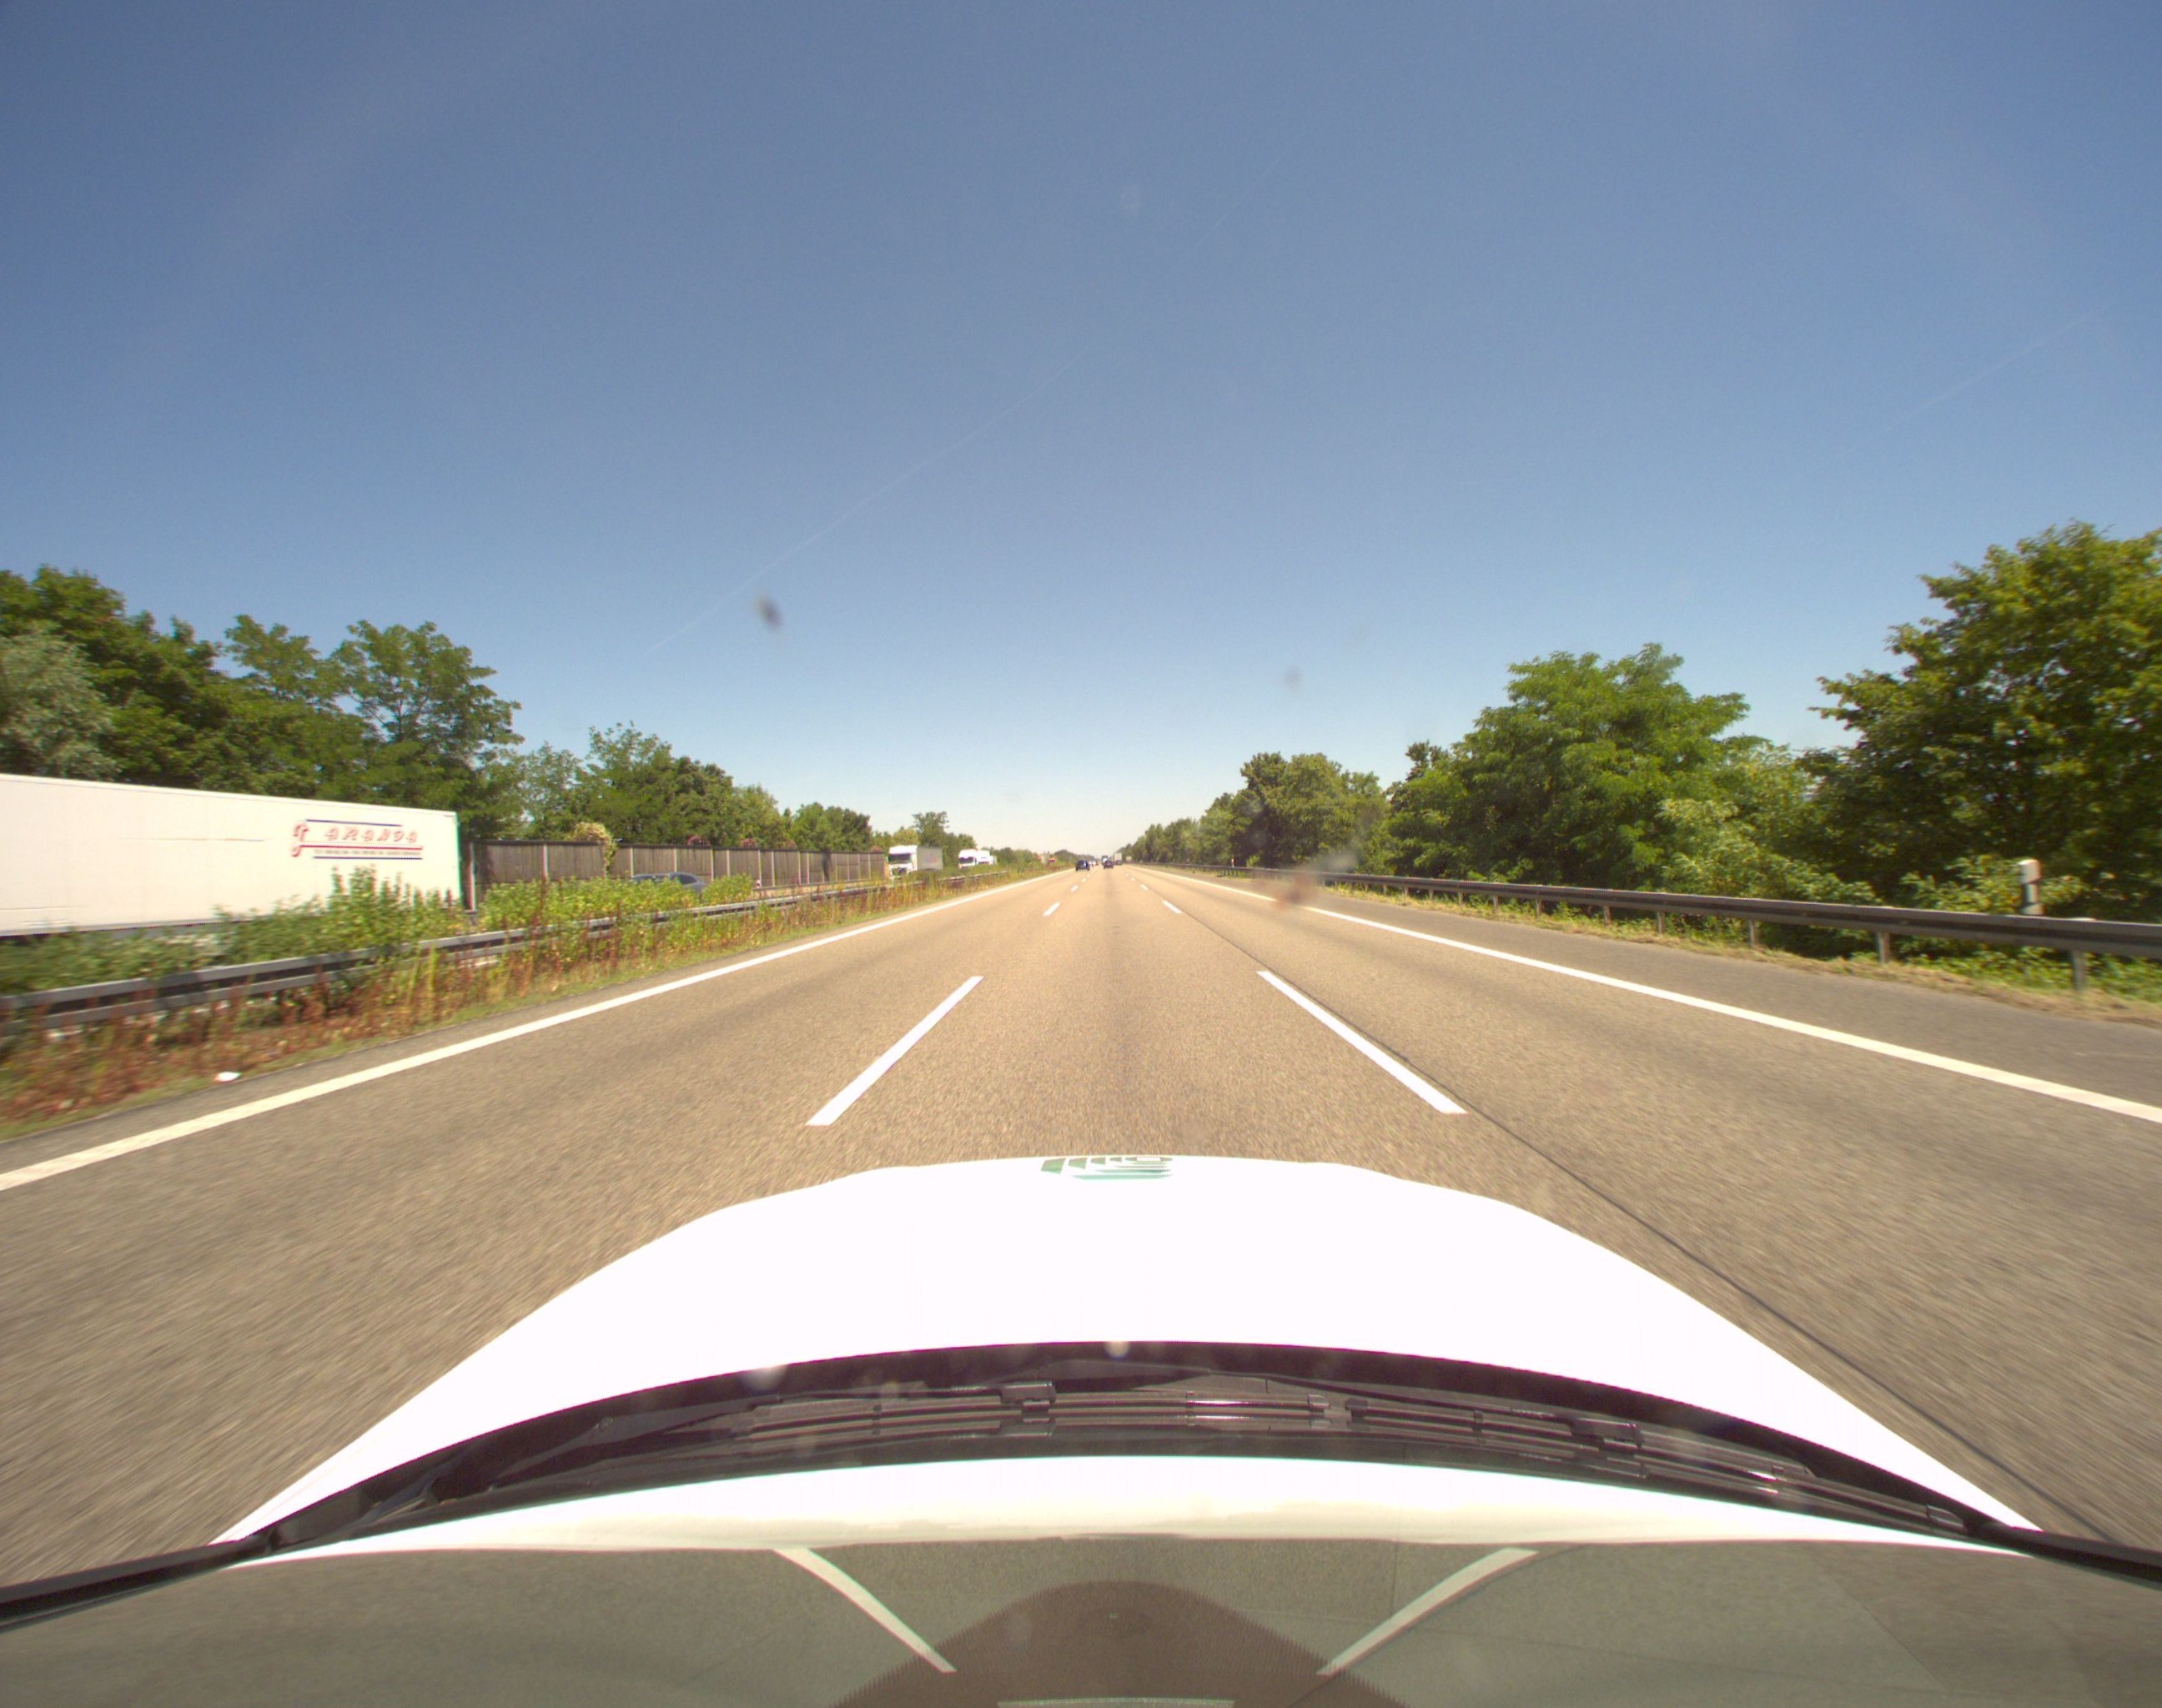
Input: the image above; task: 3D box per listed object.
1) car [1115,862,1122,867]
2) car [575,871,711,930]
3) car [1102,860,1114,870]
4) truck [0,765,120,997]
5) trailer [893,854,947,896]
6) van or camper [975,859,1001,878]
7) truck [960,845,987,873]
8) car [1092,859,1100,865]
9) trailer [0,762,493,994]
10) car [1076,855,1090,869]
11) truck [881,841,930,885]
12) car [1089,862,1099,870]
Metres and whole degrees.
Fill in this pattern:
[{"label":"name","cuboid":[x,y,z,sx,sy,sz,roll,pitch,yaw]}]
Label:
[{"label":"car","cuboid":[10.827,3.025,234.656,2.120,1.584,4.306,-3,-1,2]},{"label":"car","cuboid":[-14.091,1.443,26.541,1.815,1.596,4.442,-3,0,2]},{"label":"car","cuboid":[4.607,1.768,137.047,1.896,1.584,4.306,-3,-1,2]},{"label":"truck","cuboid":[-20.971,0.534,12.194,3.568,4.103,7.842,-3,0,2]},{"label":"trailer","cuboid":[-18.504,2.346,94.622,3.154,4.478,12.958,-2,-1,2]},{"label":"van or camper","cuboid":[-13.181,2.016,116.101,2.456,2.576,7.414,-2,-1,2]},{"label":"truck","cuboid":[-16.519,0.739,125.407,2.831,4.207,7.718,-1,0,2]},{"label":"car","cuboid":[4.449,2.481,241.763,2.120,1.645,4.306,-3,-1,2]},{"label":"trailer","cuboid":[-20.715,0.513,19.402,3.597,4.103,12.802,-3,0,2]},{"label":"car","cuboid":[0.309,1.107,116.591,1.874,1.792,4.000,-2,0,0]},{"label":"truck","cuboid":[-18.799,0.959,87.900,3.205,4.440,7.874,-2,-1,2]},{"label":"car","cuboid":[2.899,2.799,185.149,2.120,1.645,4.306,-3,-1,2]}]
